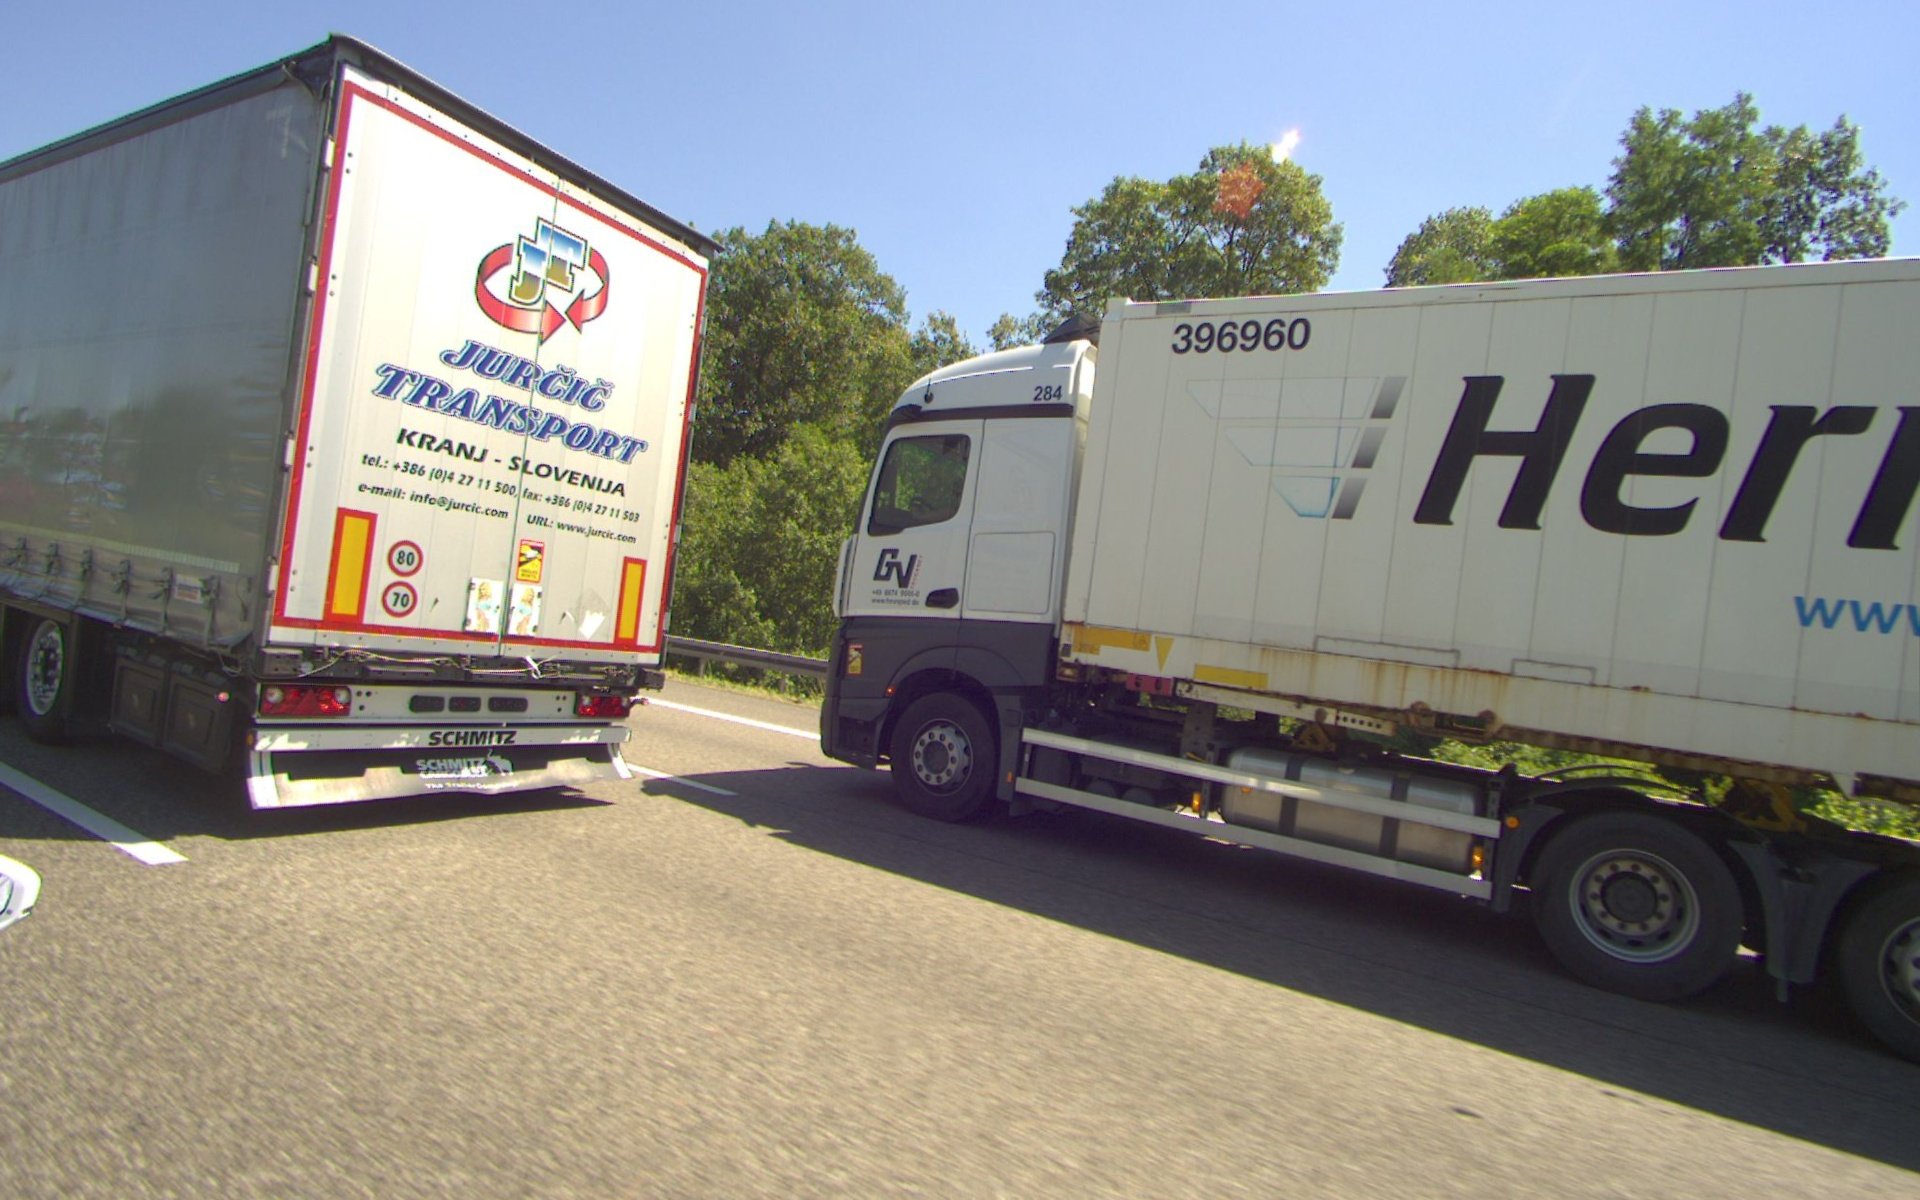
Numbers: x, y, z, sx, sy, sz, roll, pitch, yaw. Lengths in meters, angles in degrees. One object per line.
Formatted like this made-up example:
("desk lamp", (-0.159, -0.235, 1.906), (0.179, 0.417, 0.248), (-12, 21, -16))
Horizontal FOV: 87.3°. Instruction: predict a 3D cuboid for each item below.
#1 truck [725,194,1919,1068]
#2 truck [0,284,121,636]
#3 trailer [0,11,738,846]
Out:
("truck", (3.283, 0.010, 7.126), (10.492, 4.178, 2.531), (6, -2, 32))
("truck", (-14.181, -1.985, 13.088), (6.393, 4.021, 2.728), (6, -2, 31))
("trailer", (-8.230, -1.323, 9.457), (13.426, 4.021, 2.746), (6, -2, 31))
